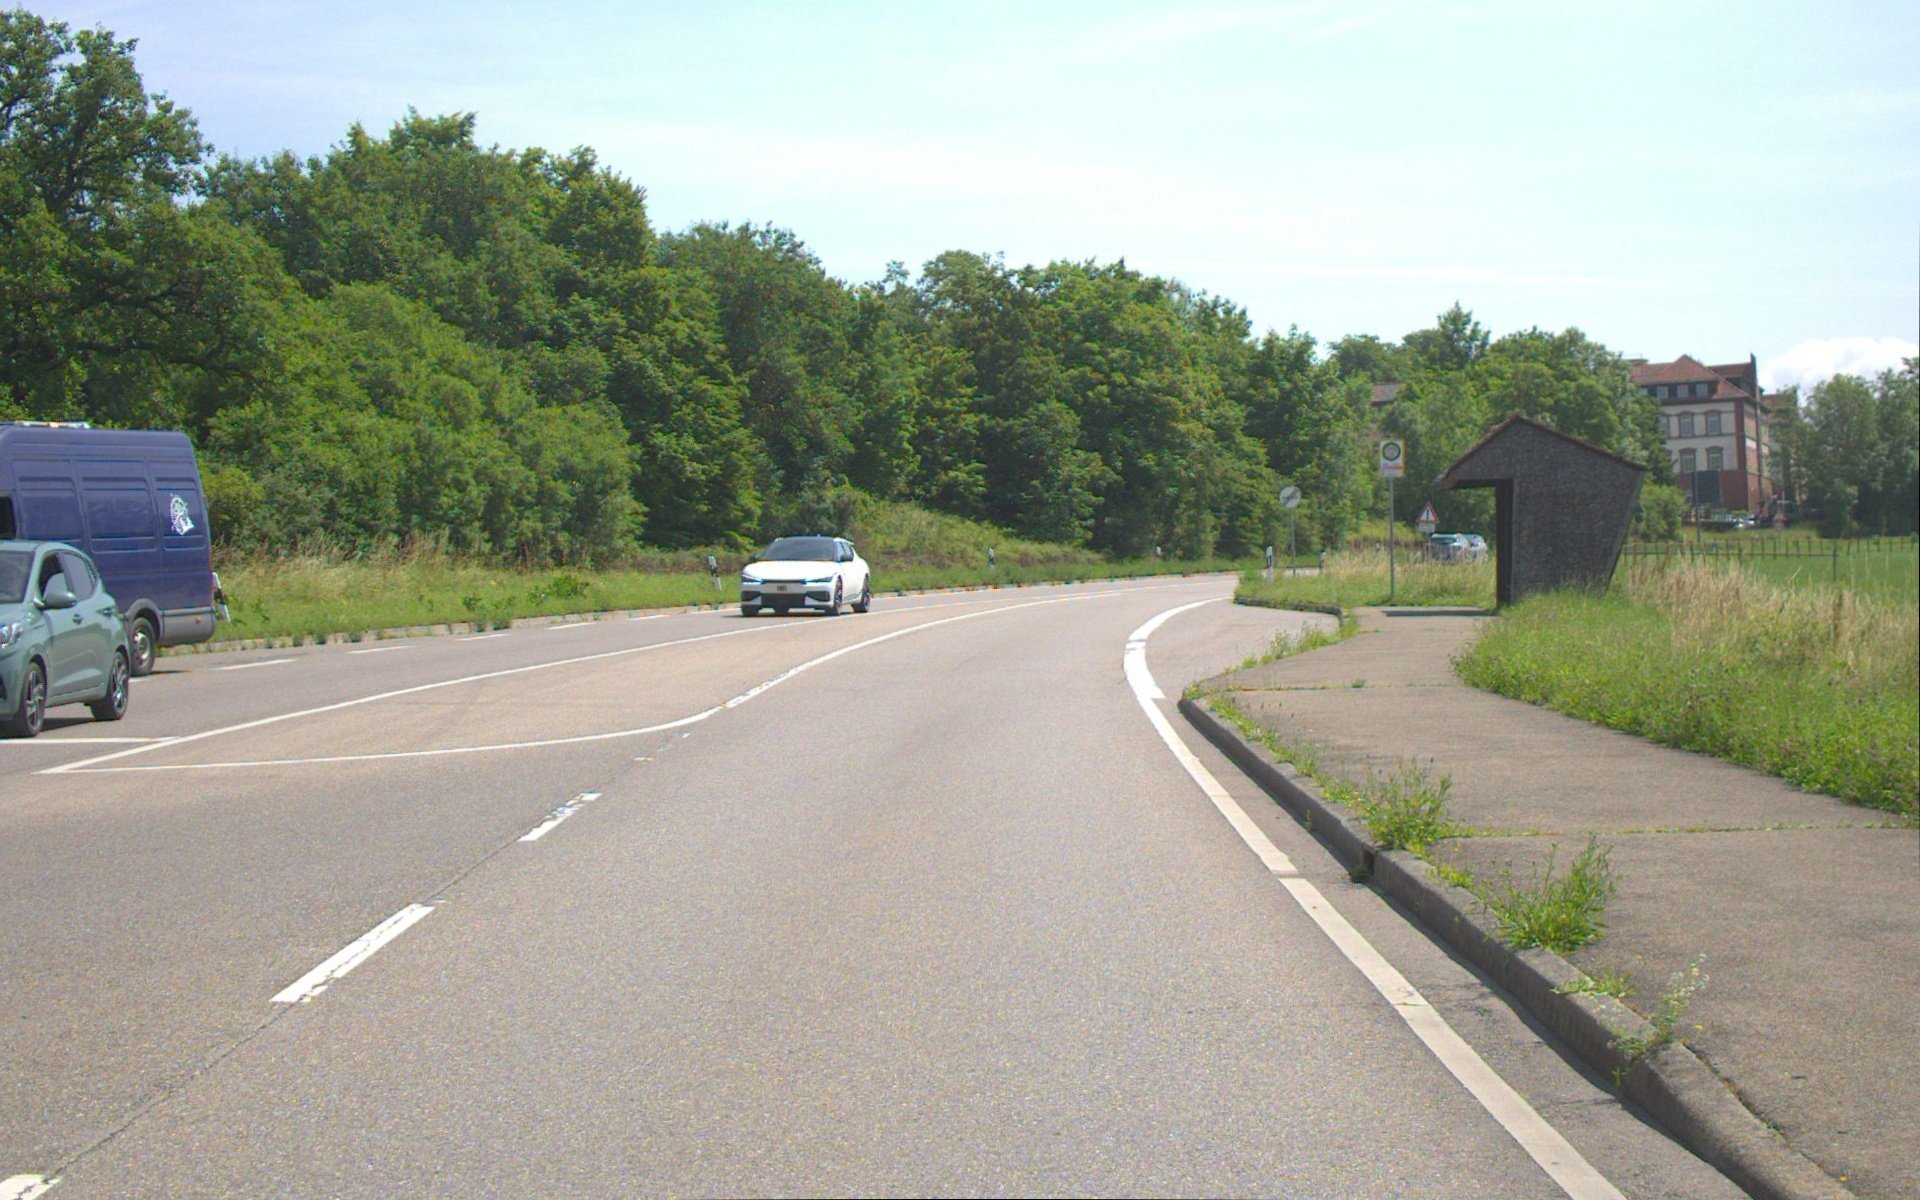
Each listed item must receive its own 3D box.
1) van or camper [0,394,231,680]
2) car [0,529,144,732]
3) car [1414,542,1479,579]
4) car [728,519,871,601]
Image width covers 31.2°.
[{"bbox_3d":[-10.464,-0.715,36.987,2.241,2.904,7.243,0,2,13],"label":"van or camper"},{"bbox_3d":[-7.741,0.192,26.892,1.707,1.478,3.832,0,1,1],"label":"car"},{"bbox_3d":[21.032,-1.716,148.512,1.995,1.568,3.996,0,1,20],"label":"car"},{"bbox_3d":[-3.115,-0.804,67.665,1.938,1.543,4.626,0,1,9],"label":"car"}]
